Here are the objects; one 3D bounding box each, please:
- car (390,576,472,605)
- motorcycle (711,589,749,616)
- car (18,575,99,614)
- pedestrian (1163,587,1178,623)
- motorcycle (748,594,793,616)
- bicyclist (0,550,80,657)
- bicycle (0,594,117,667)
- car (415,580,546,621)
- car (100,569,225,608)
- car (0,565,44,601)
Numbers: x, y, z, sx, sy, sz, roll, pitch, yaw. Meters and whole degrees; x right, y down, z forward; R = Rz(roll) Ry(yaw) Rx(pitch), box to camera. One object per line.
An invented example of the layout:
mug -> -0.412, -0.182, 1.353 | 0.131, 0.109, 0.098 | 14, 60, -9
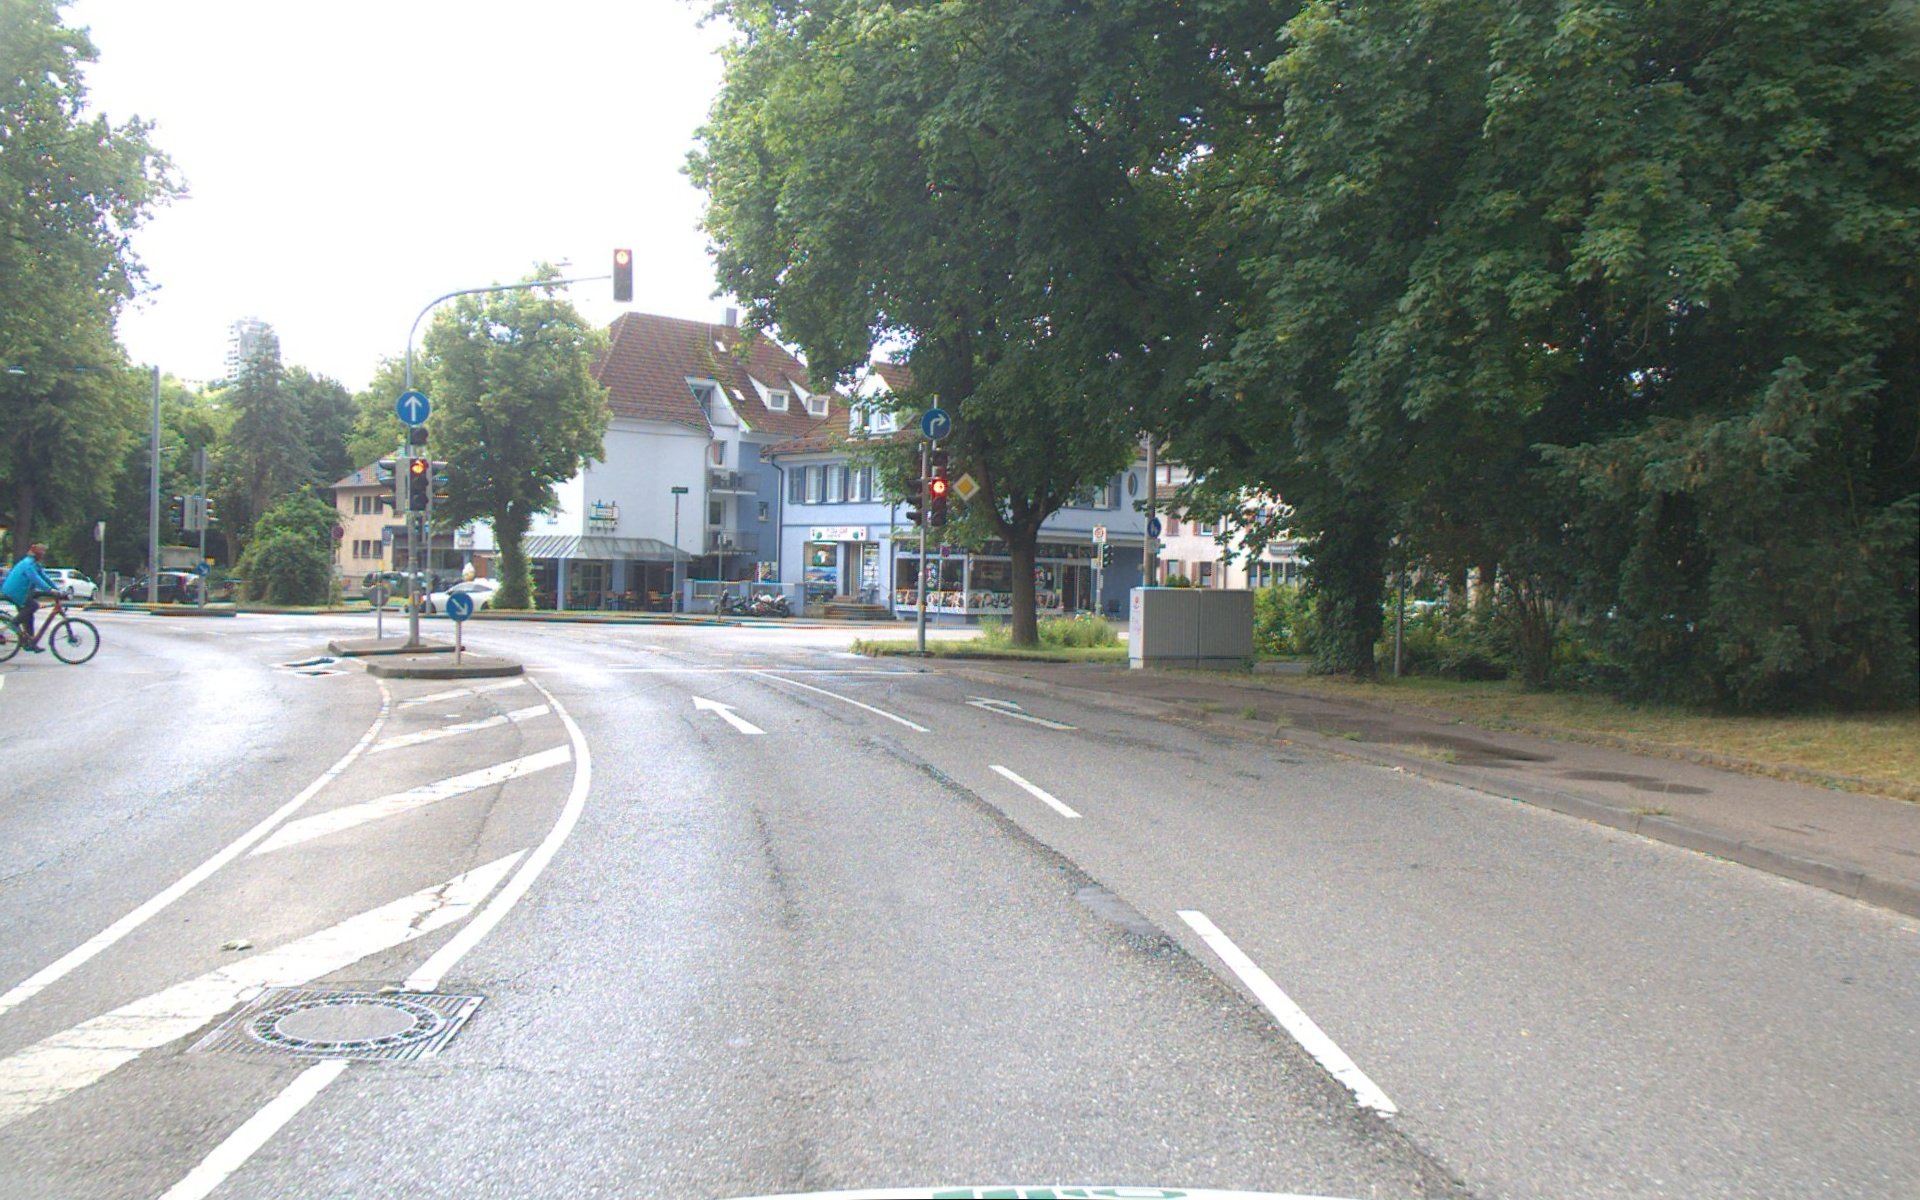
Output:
car -> -29.001, -0.539, 90.714 | 3.958, 1.512, 1.736 | -1, 1, -38
motorcycle -> -9.859, 0.103, 70.788 | 1.463, 1.125, 0.561 | 0, 6, 15
car -> -42.756, -0.265, 78.507 | 1.955, 1.803, 3.995 | 0, 1, -6
pedestrian -> 9.219, 0.207, 72.365 | 0.492, 1.579, 0.402 | 0, 0, 44
motorcycle -> -7.992, 0.209, 69.698 | 1.798, 0.862, 0.561 | 0, 6, 18
bicyclist -> -14.429, 0.056, 25.907 | 1.086, 1.627, 0.933 | 1, 0, -28
bicycle -> -14.378, 0.473, 25.950 | 2.046, 1.101, 0.932 | 1, 0, -28
car -> -18.482, 0.001, 63.763 | 4.480, 1.544, 2.001 | 0, 1, 16
car -> -32.852, -0.474, 68.153 | 4.480, 1.544, 2.001 | 0, 1, 16
car -> -44.148, -0.767, 75.241 | 3.902, 1.601, 2.002 | 0, 1, 9
